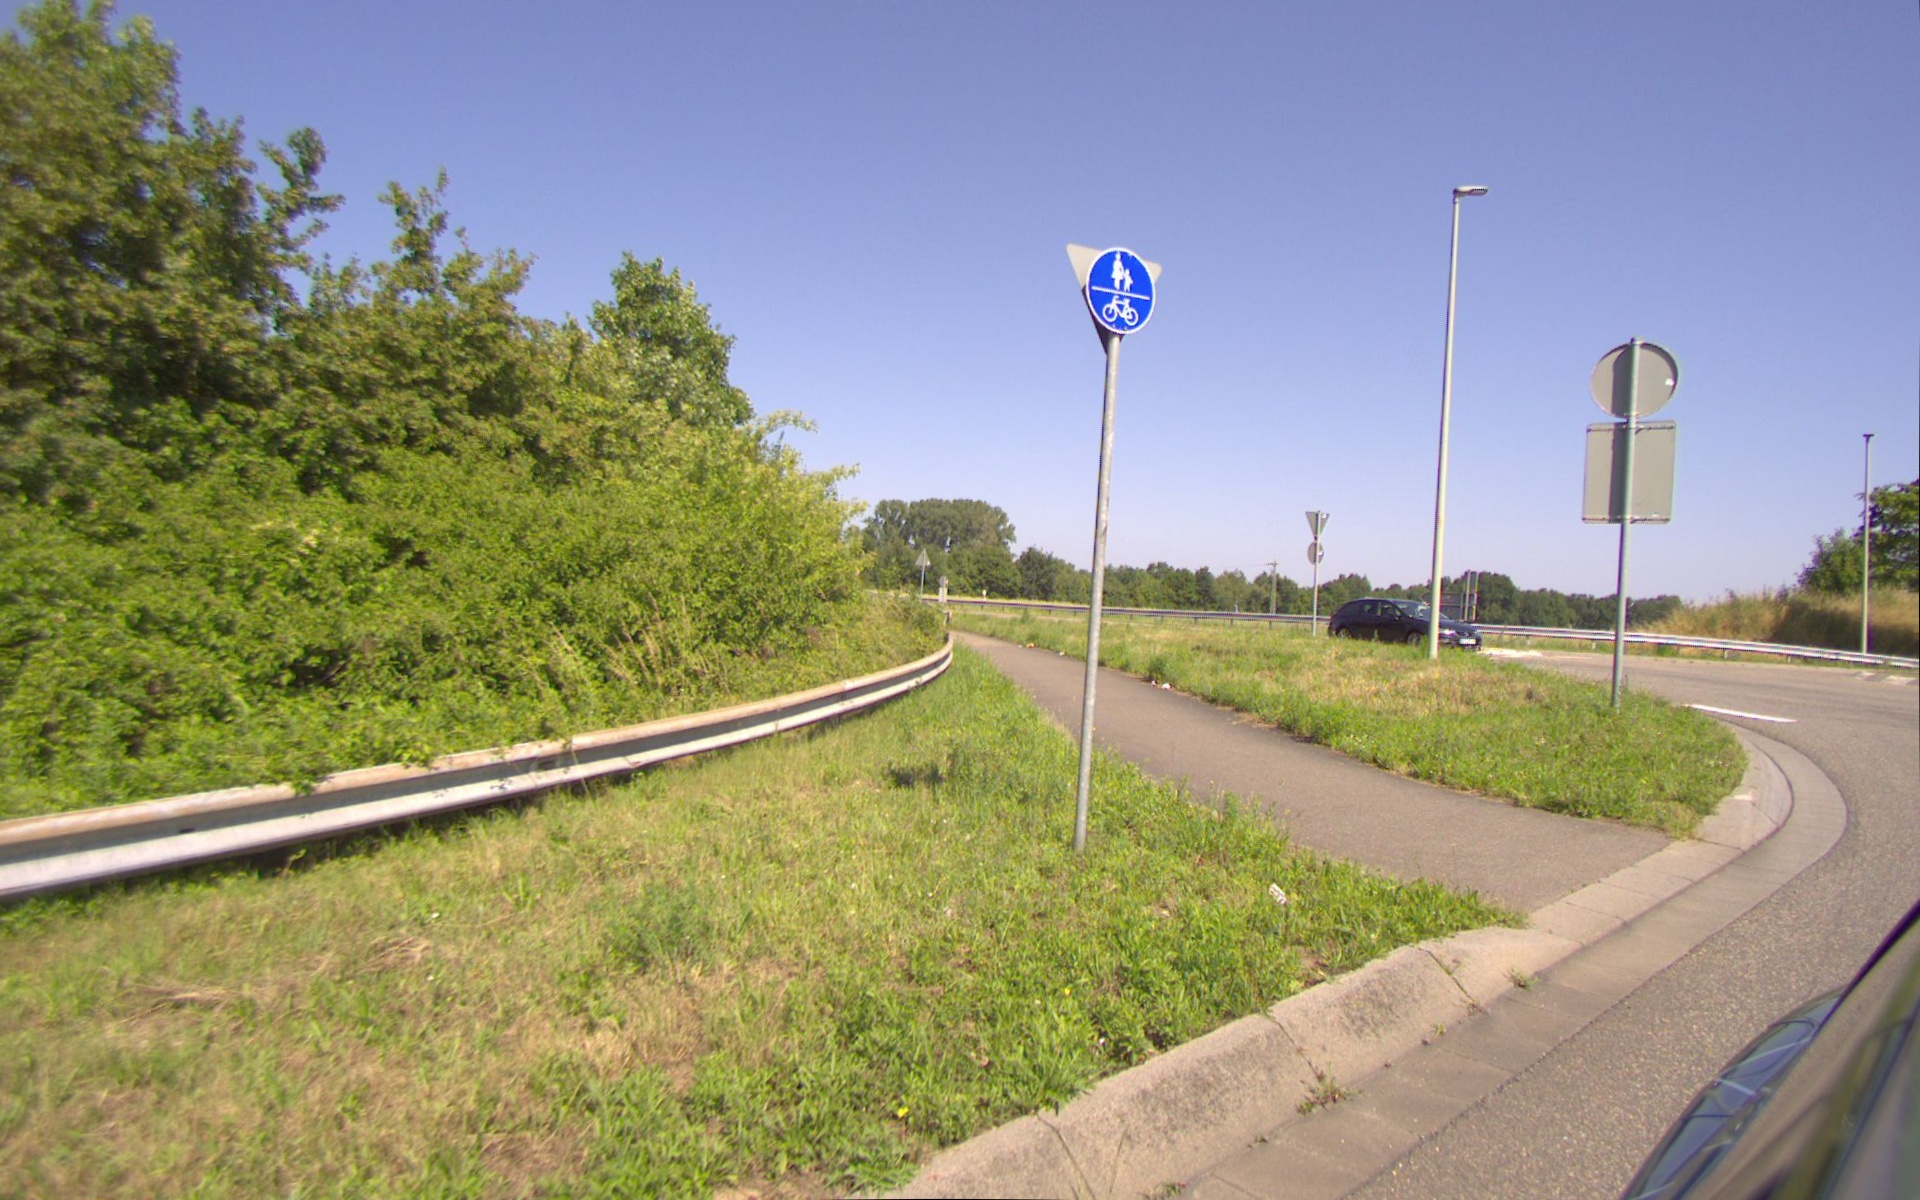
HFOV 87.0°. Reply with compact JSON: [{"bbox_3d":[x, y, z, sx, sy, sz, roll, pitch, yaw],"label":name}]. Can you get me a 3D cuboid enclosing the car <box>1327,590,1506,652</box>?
[{"bbox_3d":[11.941,0.511,26.782,1.770,1.415,4.189,2,1,-23],"label":"car"}]
